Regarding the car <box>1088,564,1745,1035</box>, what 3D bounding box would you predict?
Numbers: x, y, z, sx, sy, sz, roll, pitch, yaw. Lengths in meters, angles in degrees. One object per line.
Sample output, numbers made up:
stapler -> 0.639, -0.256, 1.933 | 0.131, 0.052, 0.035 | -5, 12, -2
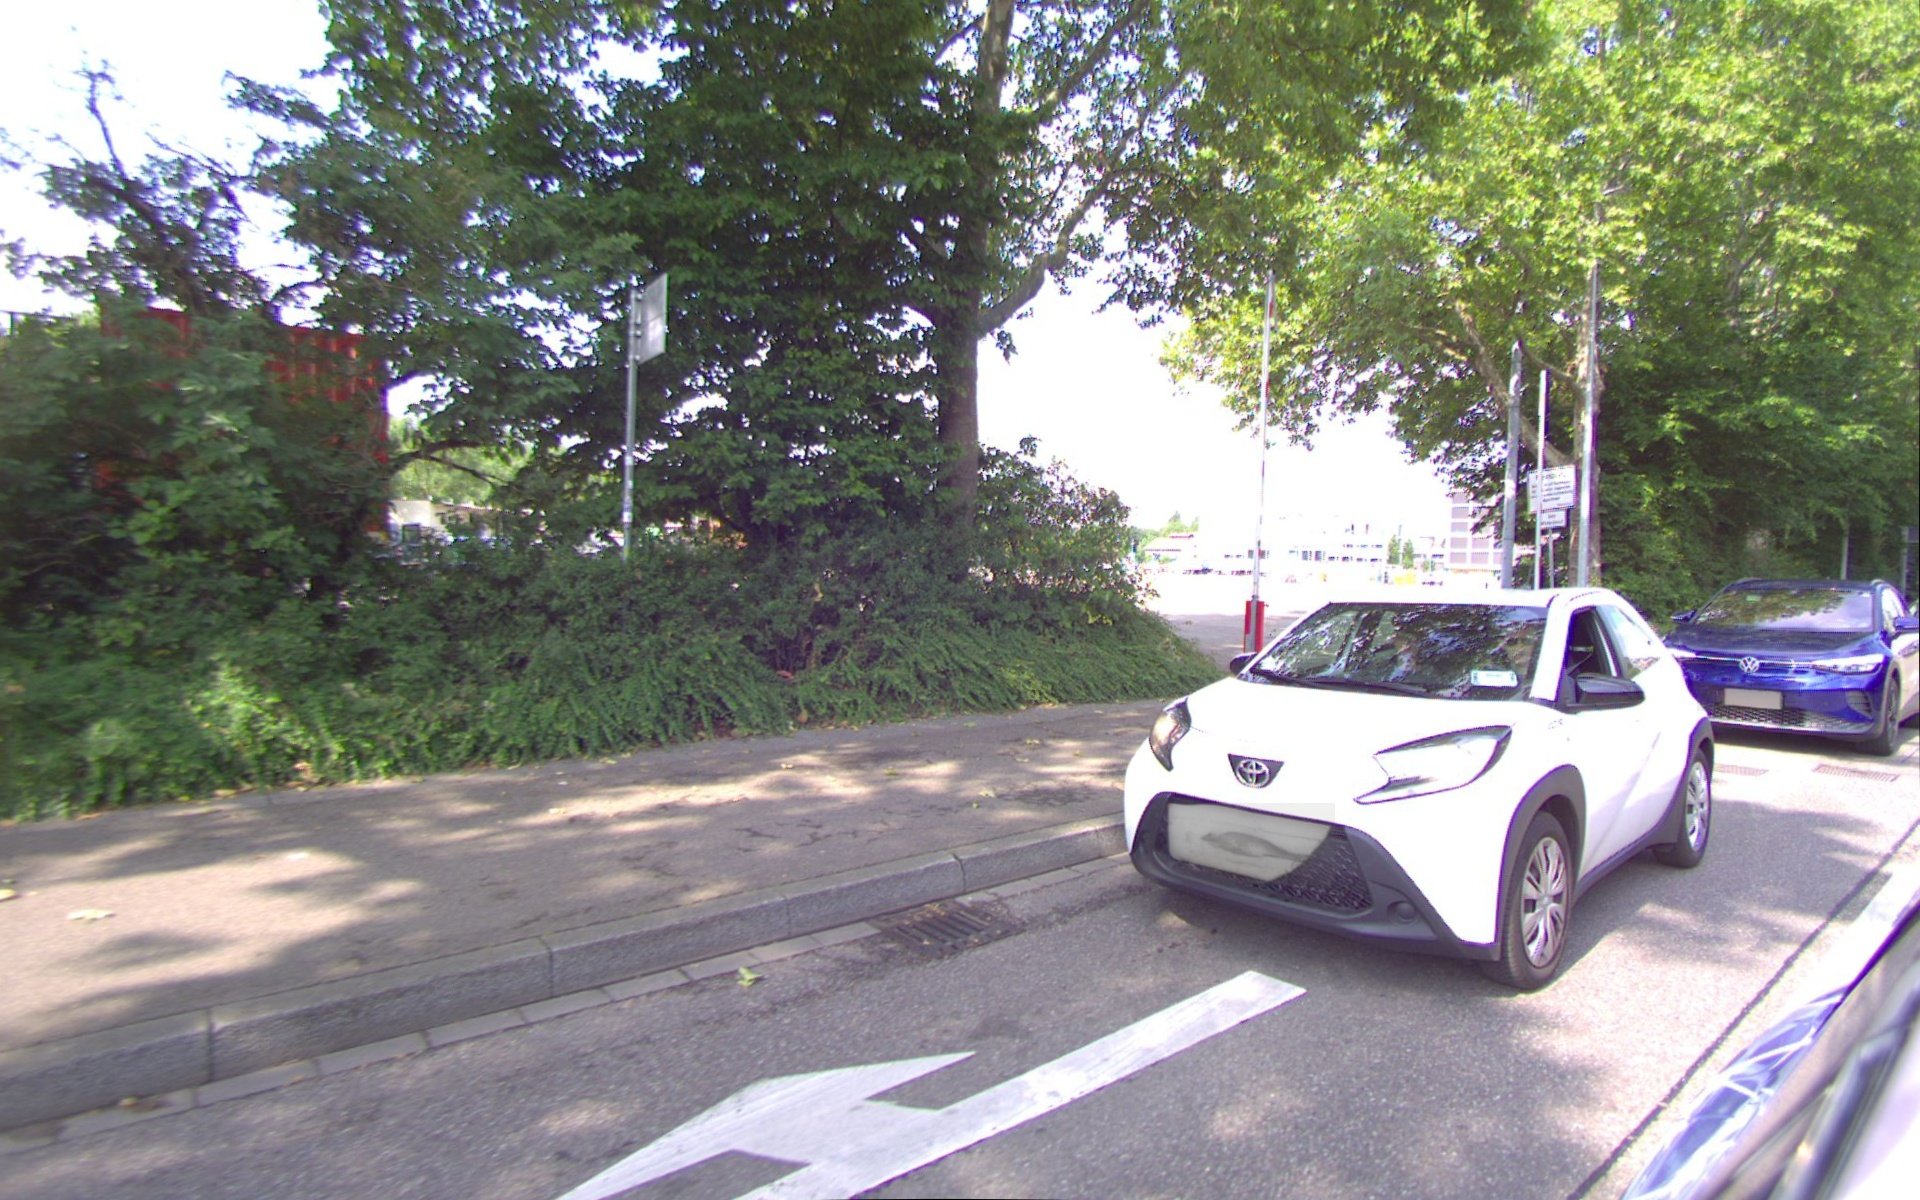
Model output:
car -> 2.527, 0.628, 5.147 | 3.734, 1.498, 1.747 | 0, 0, -43

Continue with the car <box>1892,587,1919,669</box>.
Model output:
car -> 19.233, 0.499, 19.233 | 3.929, 1.482, 1.770 | -1, 1, -40

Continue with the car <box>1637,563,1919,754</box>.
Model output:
car -> 8.965, 0.482, 10.645 | 4.499, 1.595, 1.890 | 0, 0, -40
